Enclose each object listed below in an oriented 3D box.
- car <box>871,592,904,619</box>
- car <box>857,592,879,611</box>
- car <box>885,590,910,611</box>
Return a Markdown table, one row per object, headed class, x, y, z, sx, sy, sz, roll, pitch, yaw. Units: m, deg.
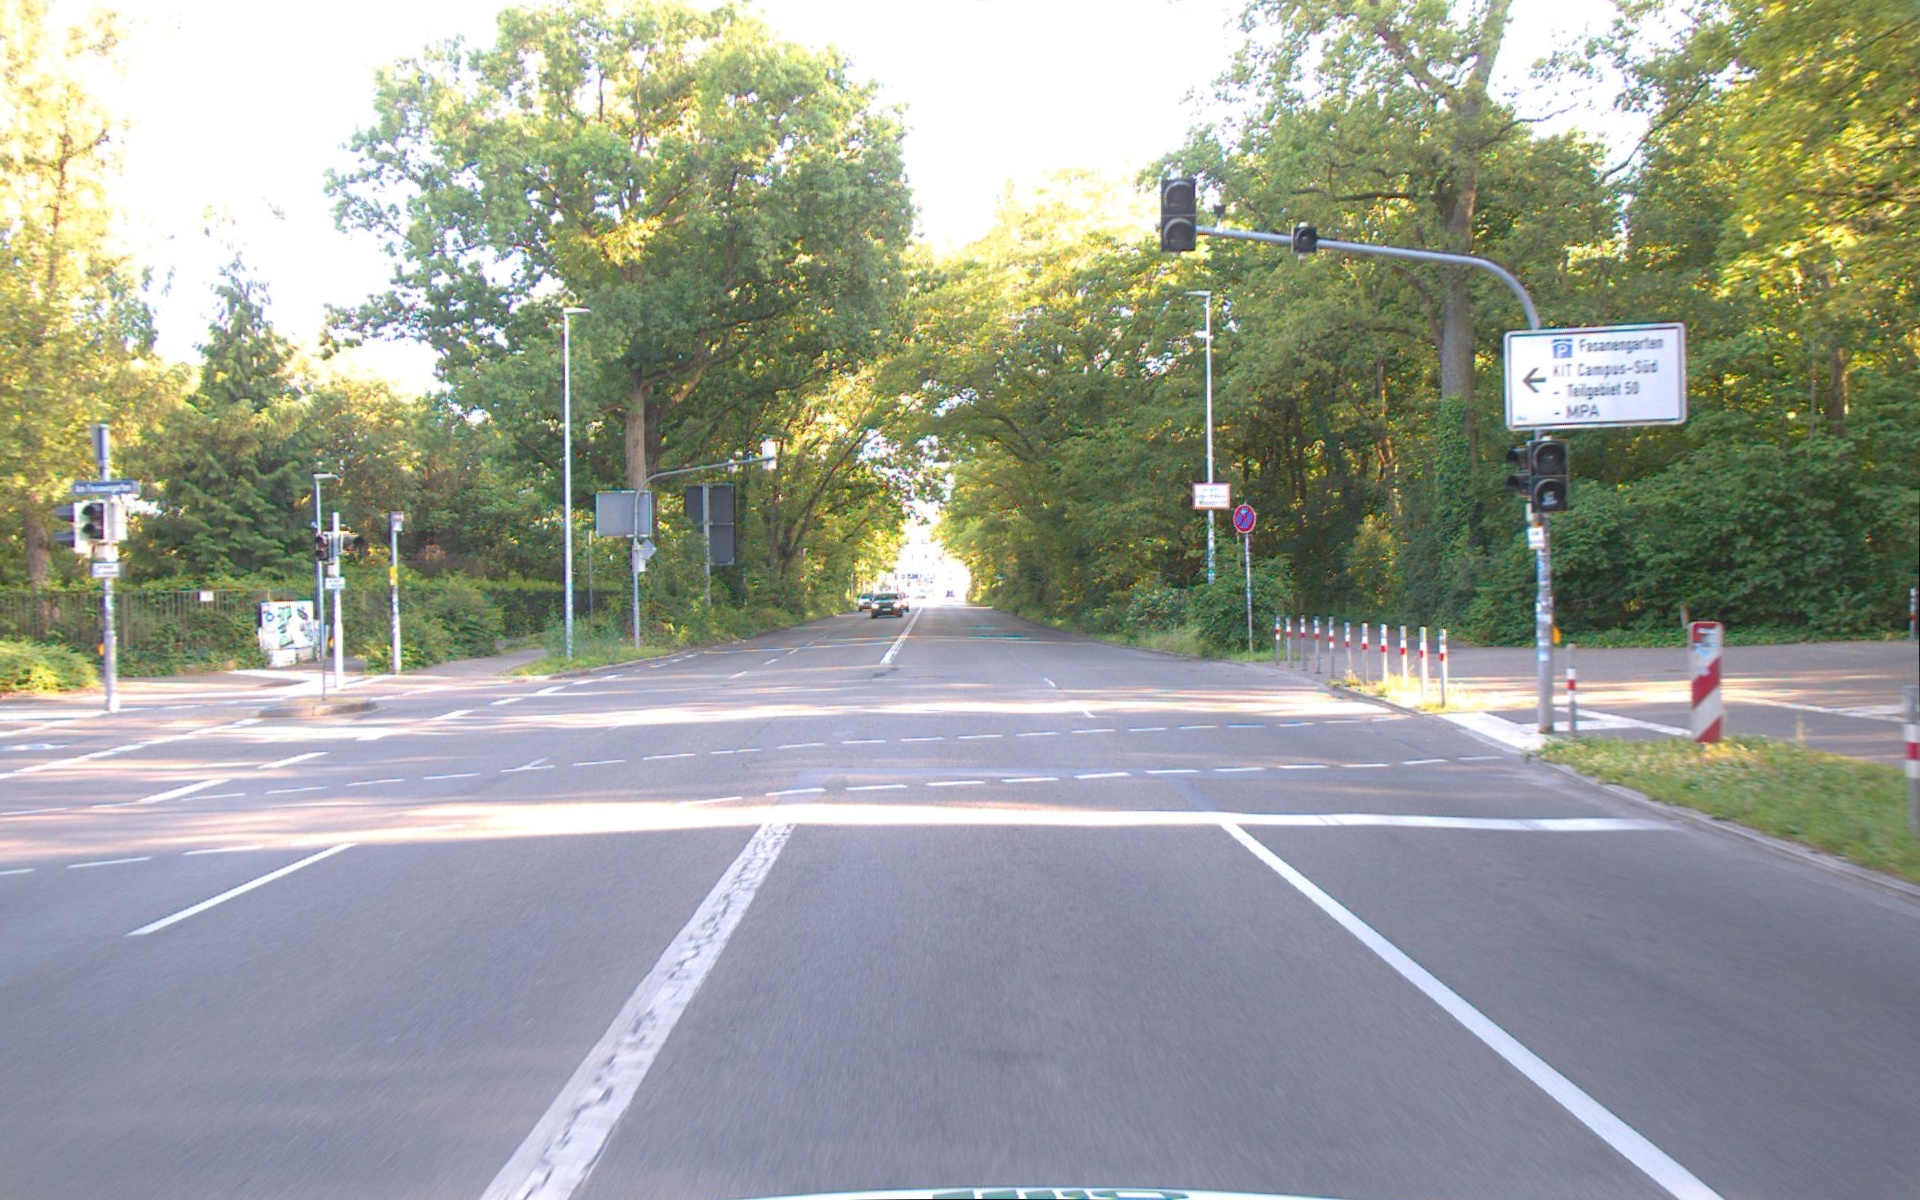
| class | x | y | z | sx | sy | sz | roll | pitch | yaw |
| --- | --- | --- | --- | --- | --- | --- | --- | --- | --- |
| car | -4.371 | 0.333 | 100.262 | 1.849 | 1.533 | 4.362 | -2 | 0 | -2 |
| car | -7.857 | 0.098 | 141.634 | 1.761 | 1.533 | 4.362 | -2 | 0 | -2 |
| car | -4.672 | 0.052 | 124.254 | 1.761 | 1.533 | 4.362 | -2 | 0 | -2 |
